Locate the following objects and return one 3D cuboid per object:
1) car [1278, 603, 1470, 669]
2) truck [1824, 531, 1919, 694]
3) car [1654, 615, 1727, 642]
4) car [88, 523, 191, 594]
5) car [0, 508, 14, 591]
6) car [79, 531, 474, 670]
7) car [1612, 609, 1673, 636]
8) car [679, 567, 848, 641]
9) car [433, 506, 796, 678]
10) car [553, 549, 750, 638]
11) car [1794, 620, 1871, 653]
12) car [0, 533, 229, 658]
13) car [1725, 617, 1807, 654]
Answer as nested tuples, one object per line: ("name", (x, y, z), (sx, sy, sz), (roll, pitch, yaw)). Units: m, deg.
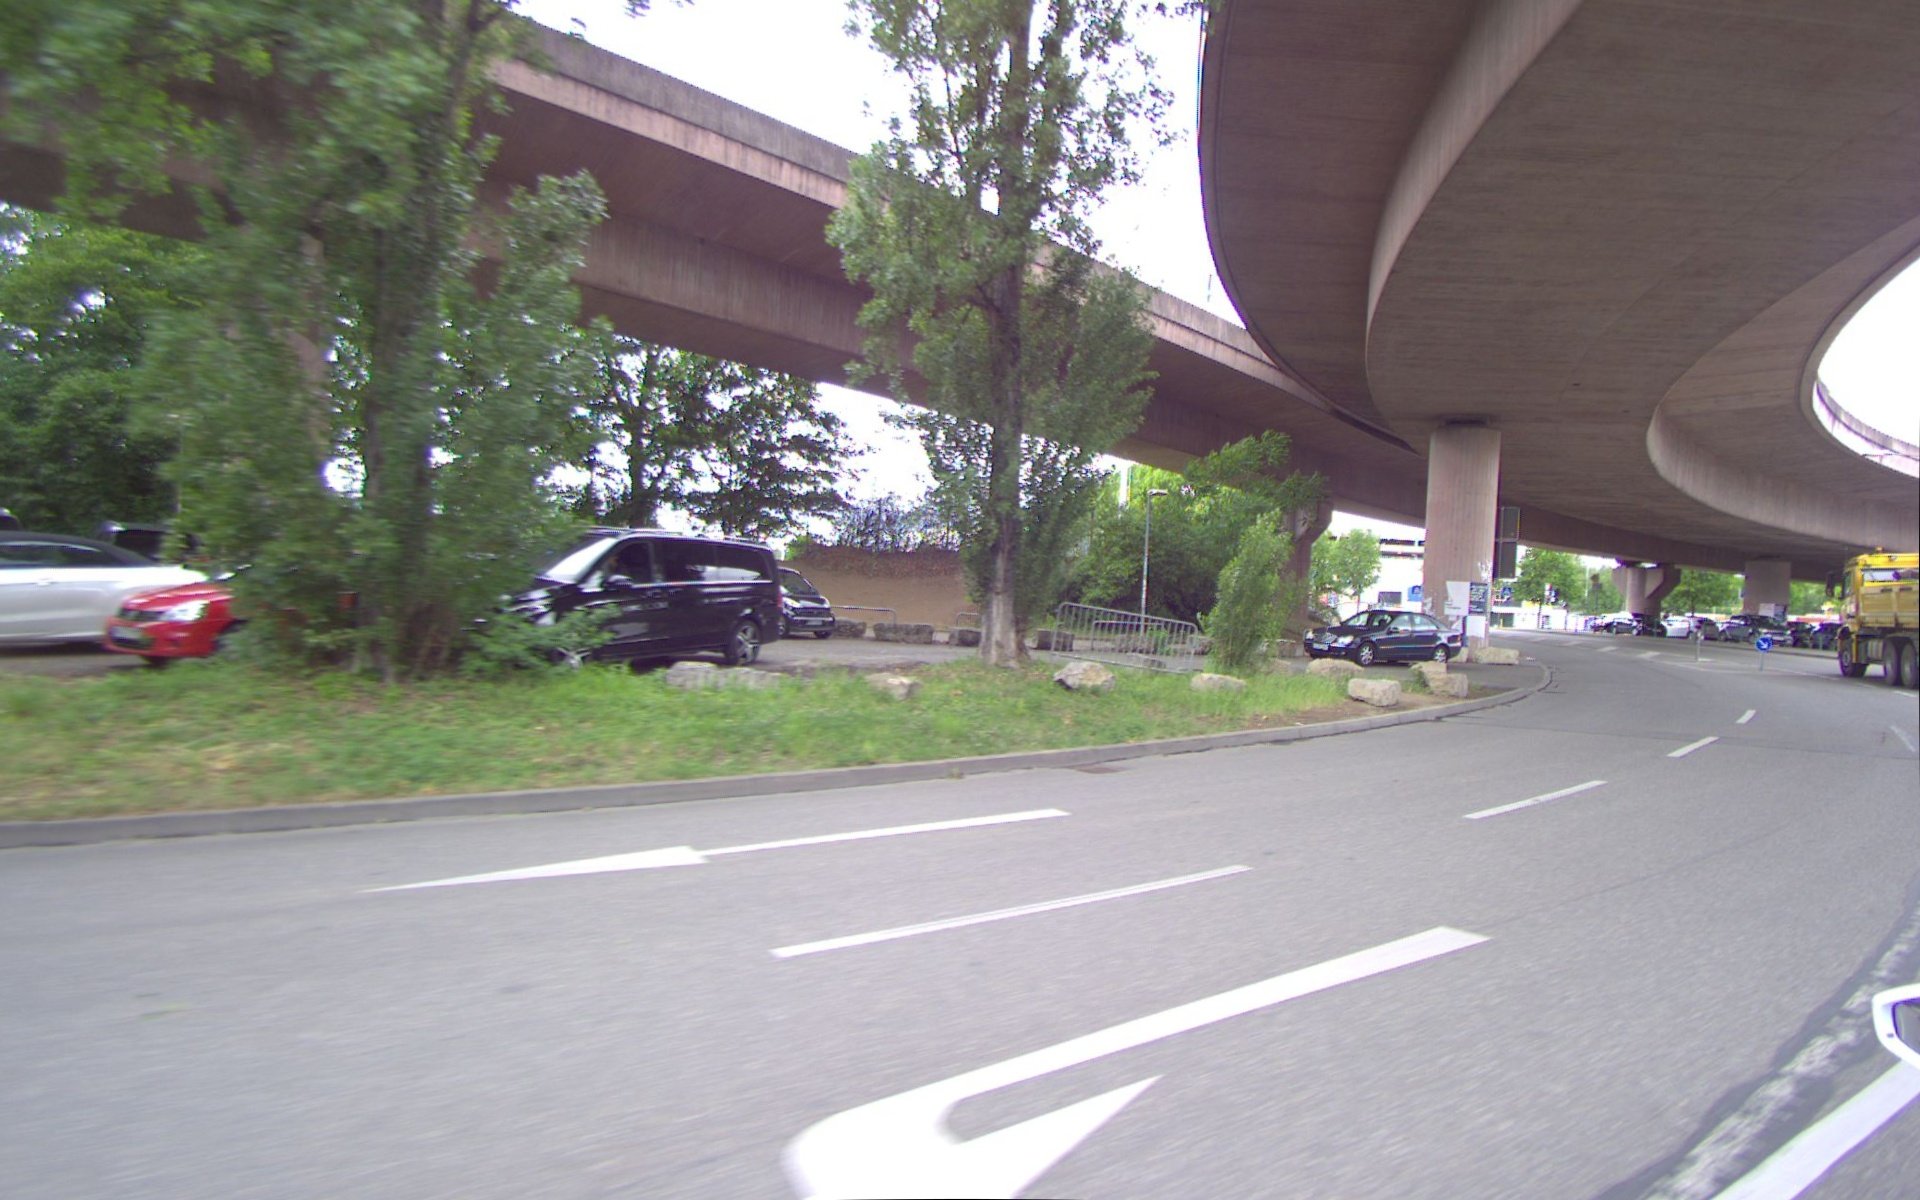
("car", (10.760, 0.945, 26.087), (4.707, 1.450, 1.817), (2, 3, -24))
("truck", (25.050, 0.334, 25.870), (2.717, 3.747, 7.866), (0, -1, 29))
("car", (48.308, 1.846, 66.510), (1.608, 1.572, 4.008), (2, 0, -5))
("car", (-16.321, -0.815, 19.936), (1.311, 1.251, 2.938), (3, 0, -44))
("car", (-19.176, -1.001, 18.827), (2.925, 1.506, 1.317), (3, 0, 31))
("car", (-8.069, 0.024, 12.254), (1.535, 1.398, 3.703), (3, 0, 24))
("car", (41.119, 1.357, 60.576), (1.579, 1.416, 3.581), (4, 1, 9))
("car", (-4.527, 0.071, 22.962), (3.804, 1.484, 1.534), (3, 0, 35))
("car", (-4.474, -0.070, 13.995), (1.821, 1.942, 4.971), (3, 0, 24))
("car", (-6.767, -0.161, 21.983), (3.988, 1.730, 1.733), (3, 0, 27))
("car", (45.759, 1.904, 52.782), (1.756, 1.526, 3.859), (4, 0, 21))
("car", (-11.292, -0.082, 11.442), (1.664, 1.382, 4.512), (3, 0, 25))
("car", (39.602, 1.729, 49.442), (1.579, 1.553, 3.412), (4, 1, 9))
